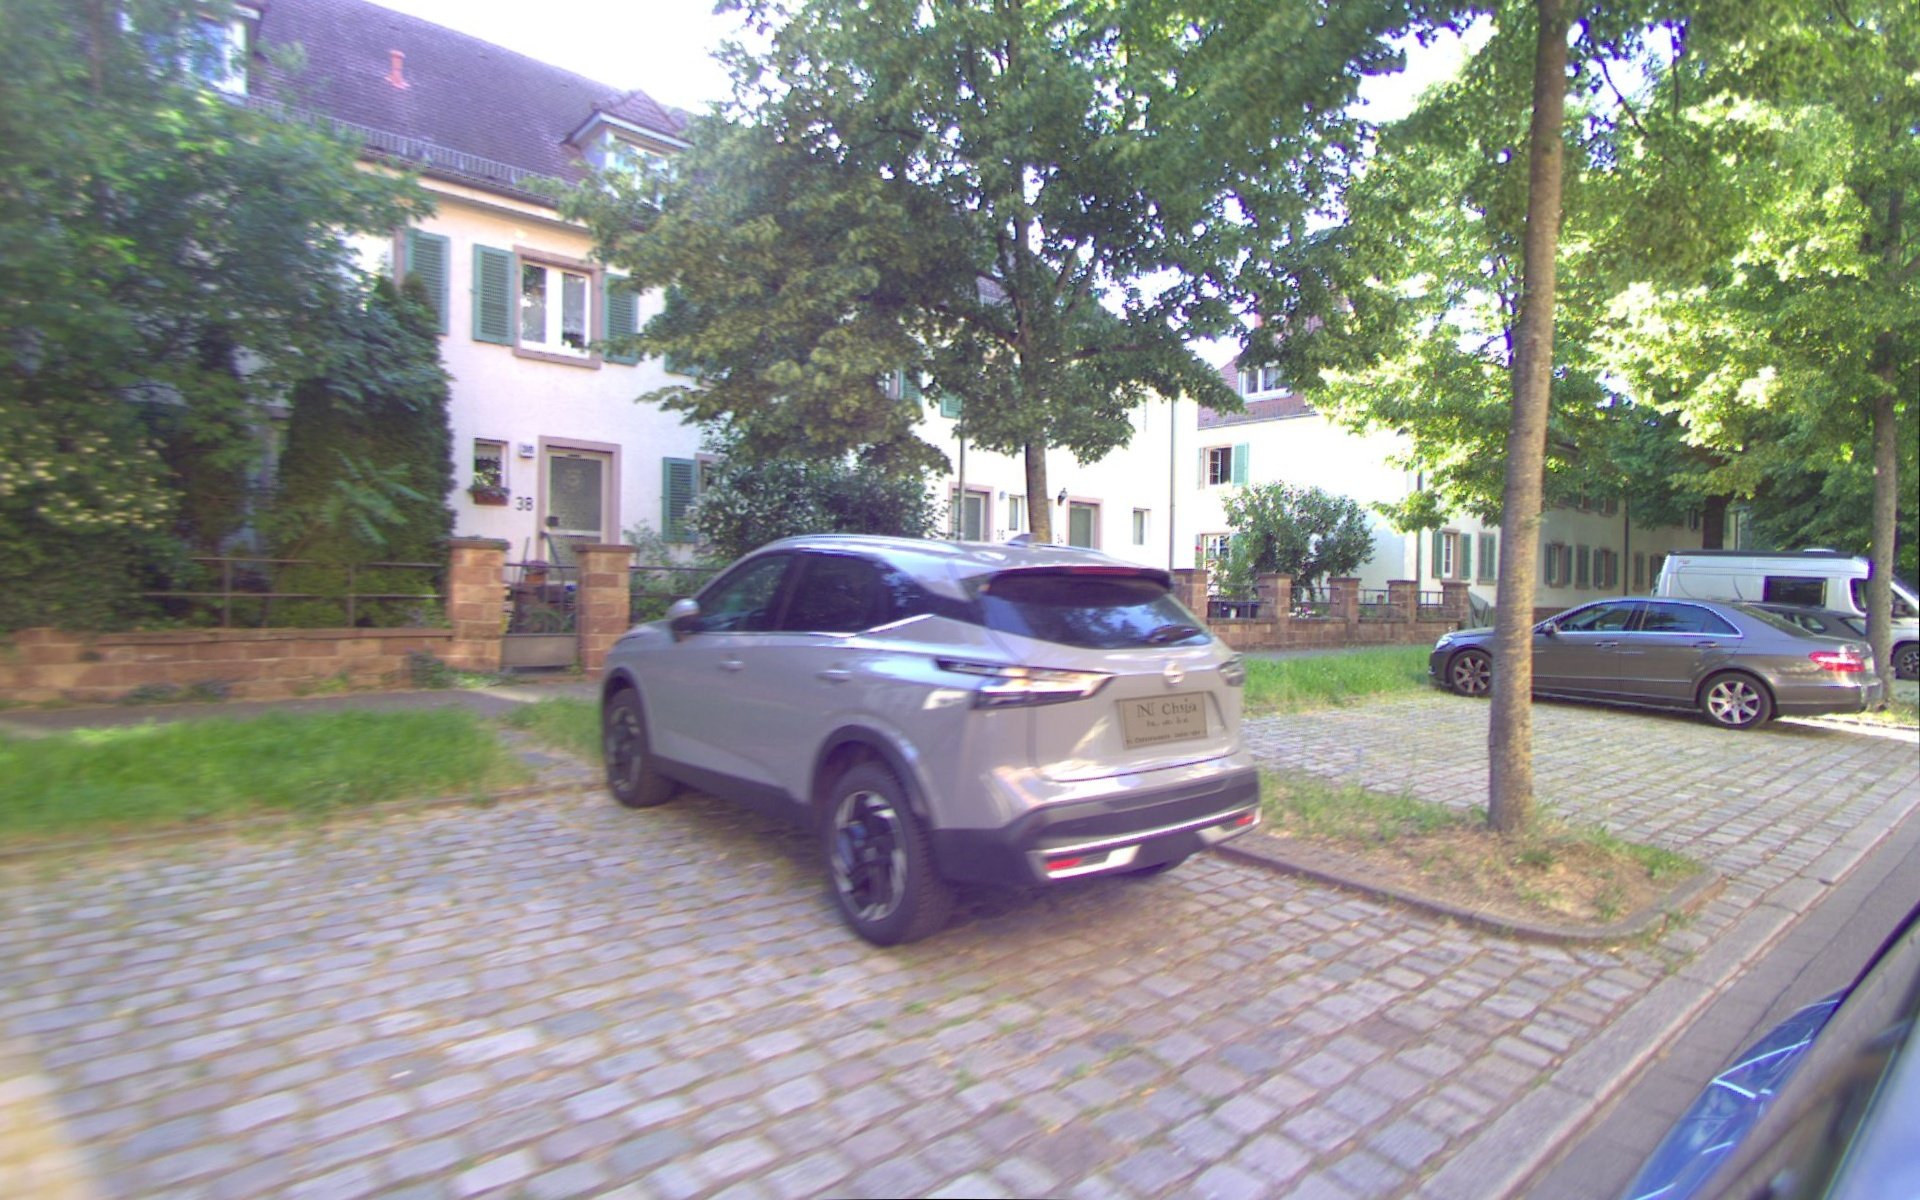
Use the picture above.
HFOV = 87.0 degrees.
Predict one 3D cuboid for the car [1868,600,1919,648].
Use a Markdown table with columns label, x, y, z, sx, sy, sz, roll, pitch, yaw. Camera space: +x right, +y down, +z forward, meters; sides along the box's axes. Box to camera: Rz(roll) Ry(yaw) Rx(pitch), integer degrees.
| label | x | y | z | sx | sy | sz | roll | pitch | yaw |
| --- | --- | --- | --- | --- | --- | --- | --- | --- | --- |
| car | 33.252 | 0.846 | 33.913 | 1.527 | 1.571 | 3.996 | 1 | 1 | -40 |

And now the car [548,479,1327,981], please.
| label | x | y | z | sx | sy | sz | roll | pitch | yaw |
| --- | --- | --- | --- | --- | --- | --- | --- | --- | --- |
| car | -0.555 | 0.267 | 5.619 | 1.842 | 1.653 | 4.486 | 1 | 4 | -41 |

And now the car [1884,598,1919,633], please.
| label | x | y | z | sx | sy | sz | roll | pitch | yaw |
| --- | --- | --- | --- | --- | --- | --- | --- | --- | --- |
| car | 43.785 | 0.738 | 44.914 | 1.546 | 1.531 | 3.991 | 1 | 1 | -43 |

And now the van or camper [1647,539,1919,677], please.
| label | x | y | z | sx | sy | sz | roll | pitch | yaw |
| --- | --- | --- | --- | --- | --- | --- | --- | --- | --- |
| van or camper | 18.448 | 0.098 | 21.635 | 2.124 | 2.547 | 5.734 | 1 | 4 | -40 |

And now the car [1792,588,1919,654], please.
| label | x | y | z | sx | sy | sz | roll | pitch | yaw |
| --- | --- | --- | --- | --- | --- | --- | --- | --- | --- |
| car | 27.538 | 0.628 | 29.638 | 1.966 | 1.737 | 4.603 | 1 | 3 | -42 |

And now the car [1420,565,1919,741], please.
| label | x | y | z | sx | sy | sz | roll | pitch | yaw |
| --- | --- | --- | --- | --- | --- | --- | --- | --- | --- |
| car | 8.679 | 0.484 | 12.774 | 1.862 | 1.558 | 4.847 | 1 | 4 | -42 |

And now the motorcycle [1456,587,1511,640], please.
| label | x | y | z | sx | sy | sz | roll | pitch | yaw |
| --- | --- | --- | --- | --- | --- | --- | --- | --- | --- |
| motorcycle | 14.637 | 0.351 | 28.288 | 1.981 | 1.424 | 0.660 | 0 | 0 | -41 |

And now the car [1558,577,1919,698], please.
| label | x | y | z | sx | sy | sz | roll | pitch | yaw |
| --- | --- | --- | --- | --- | --- | --- | --- | --- | --- |
| car | 12.689 | 0.504 | 16.678 | 1.795 | 1.453 | 4.488 | 1 | 4 | -40 |
